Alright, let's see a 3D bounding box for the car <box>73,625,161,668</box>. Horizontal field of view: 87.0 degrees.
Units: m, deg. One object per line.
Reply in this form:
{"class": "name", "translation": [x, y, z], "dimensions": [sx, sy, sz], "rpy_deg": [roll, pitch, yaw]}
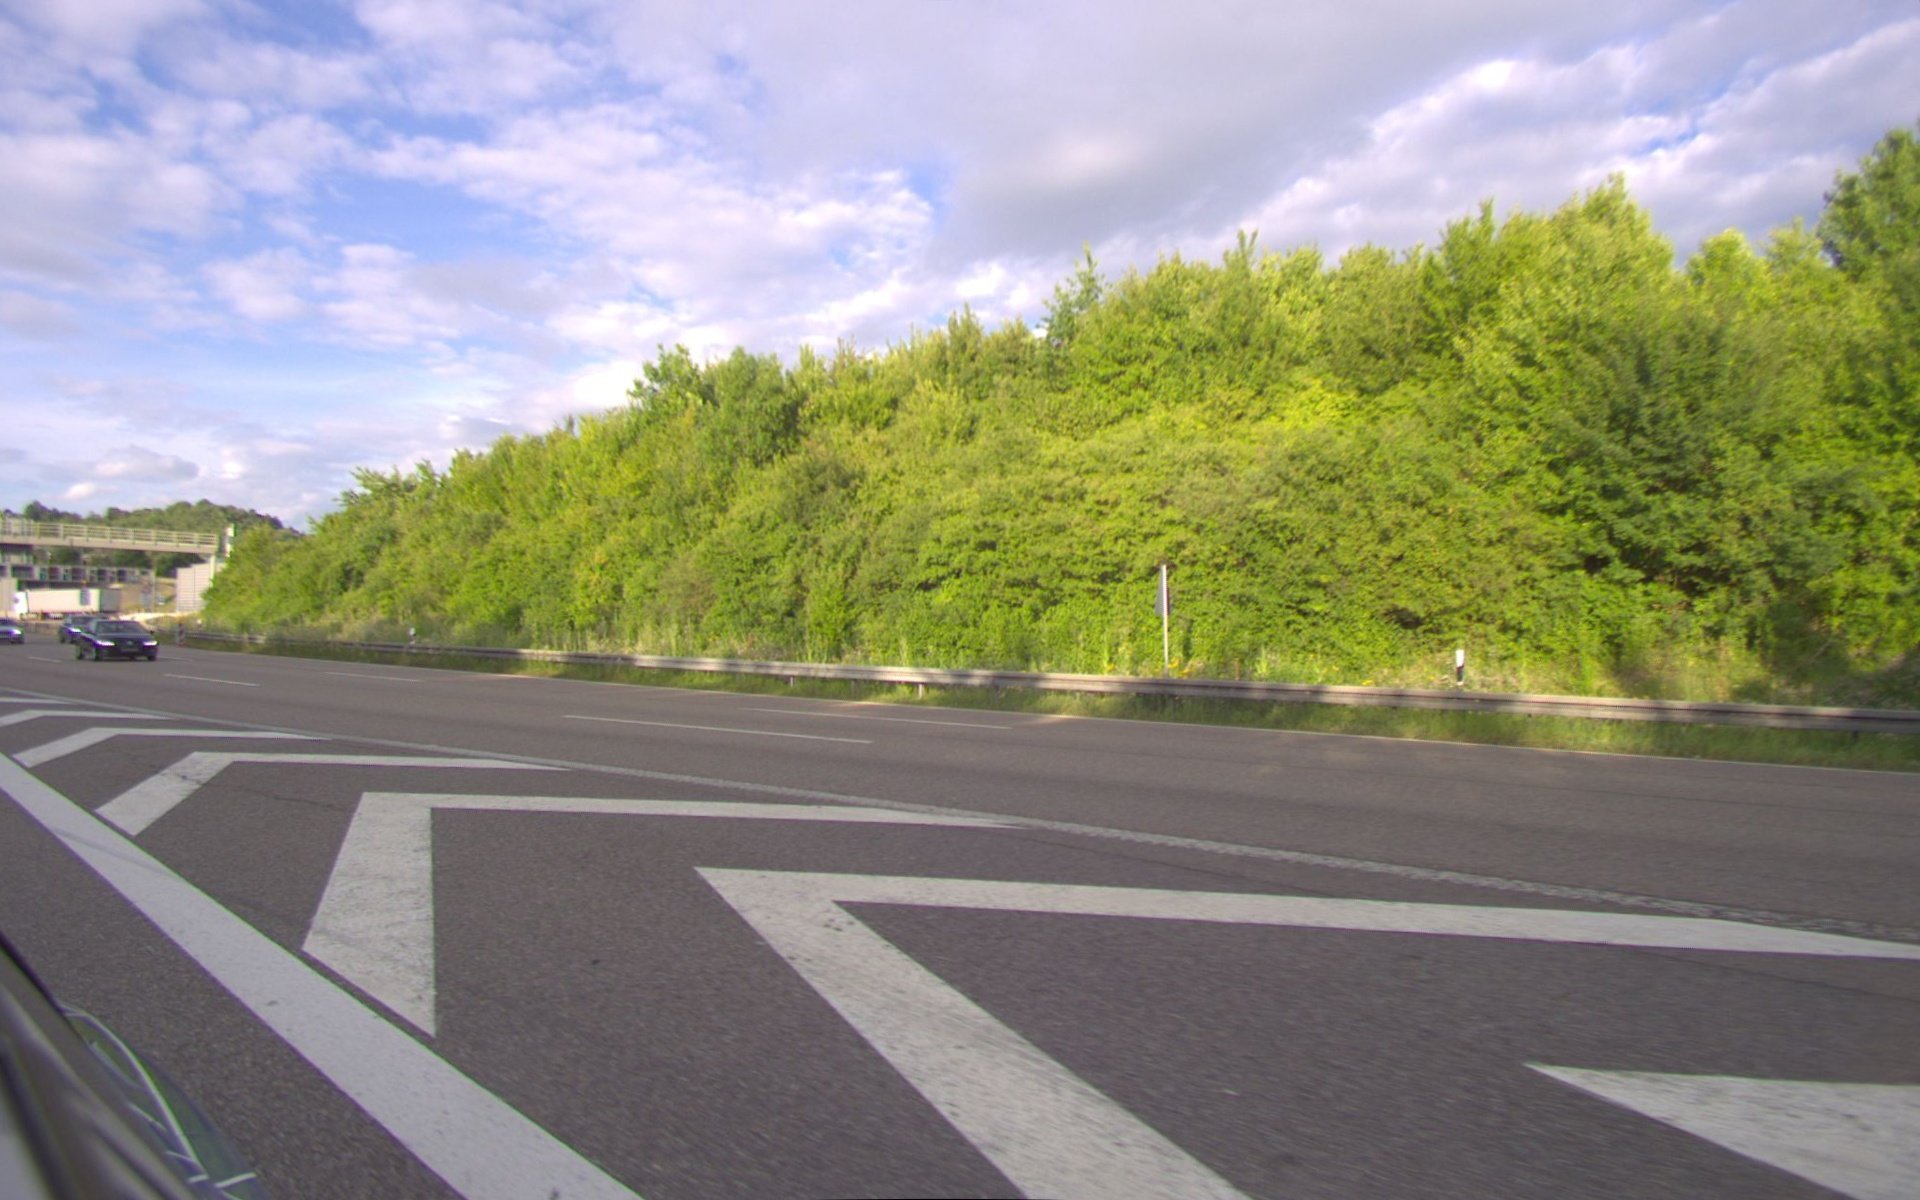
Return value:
{"class": "car", "translation": [-29.450, 1.577, 35.321], "dimensions": [3.998, 1.417, 1.739], "rpy_deg": [-1, -2, 41]}

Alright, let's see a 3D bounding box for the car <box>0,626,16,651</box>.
{"class": "car", "translation": [-51.868, 2.030, 54.012], "dimensions": [3.998, 1.301, 1.774], "rpy_deg": [-1, -2, 41]}

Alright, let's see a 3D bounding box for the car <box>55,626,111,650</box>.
{"class": "car", "translation": [-49.244, 2.109, 56.817], "dimensions": [3.998, 1.301, 1.856], "rpy_deg": [-1, -1, 41]}
